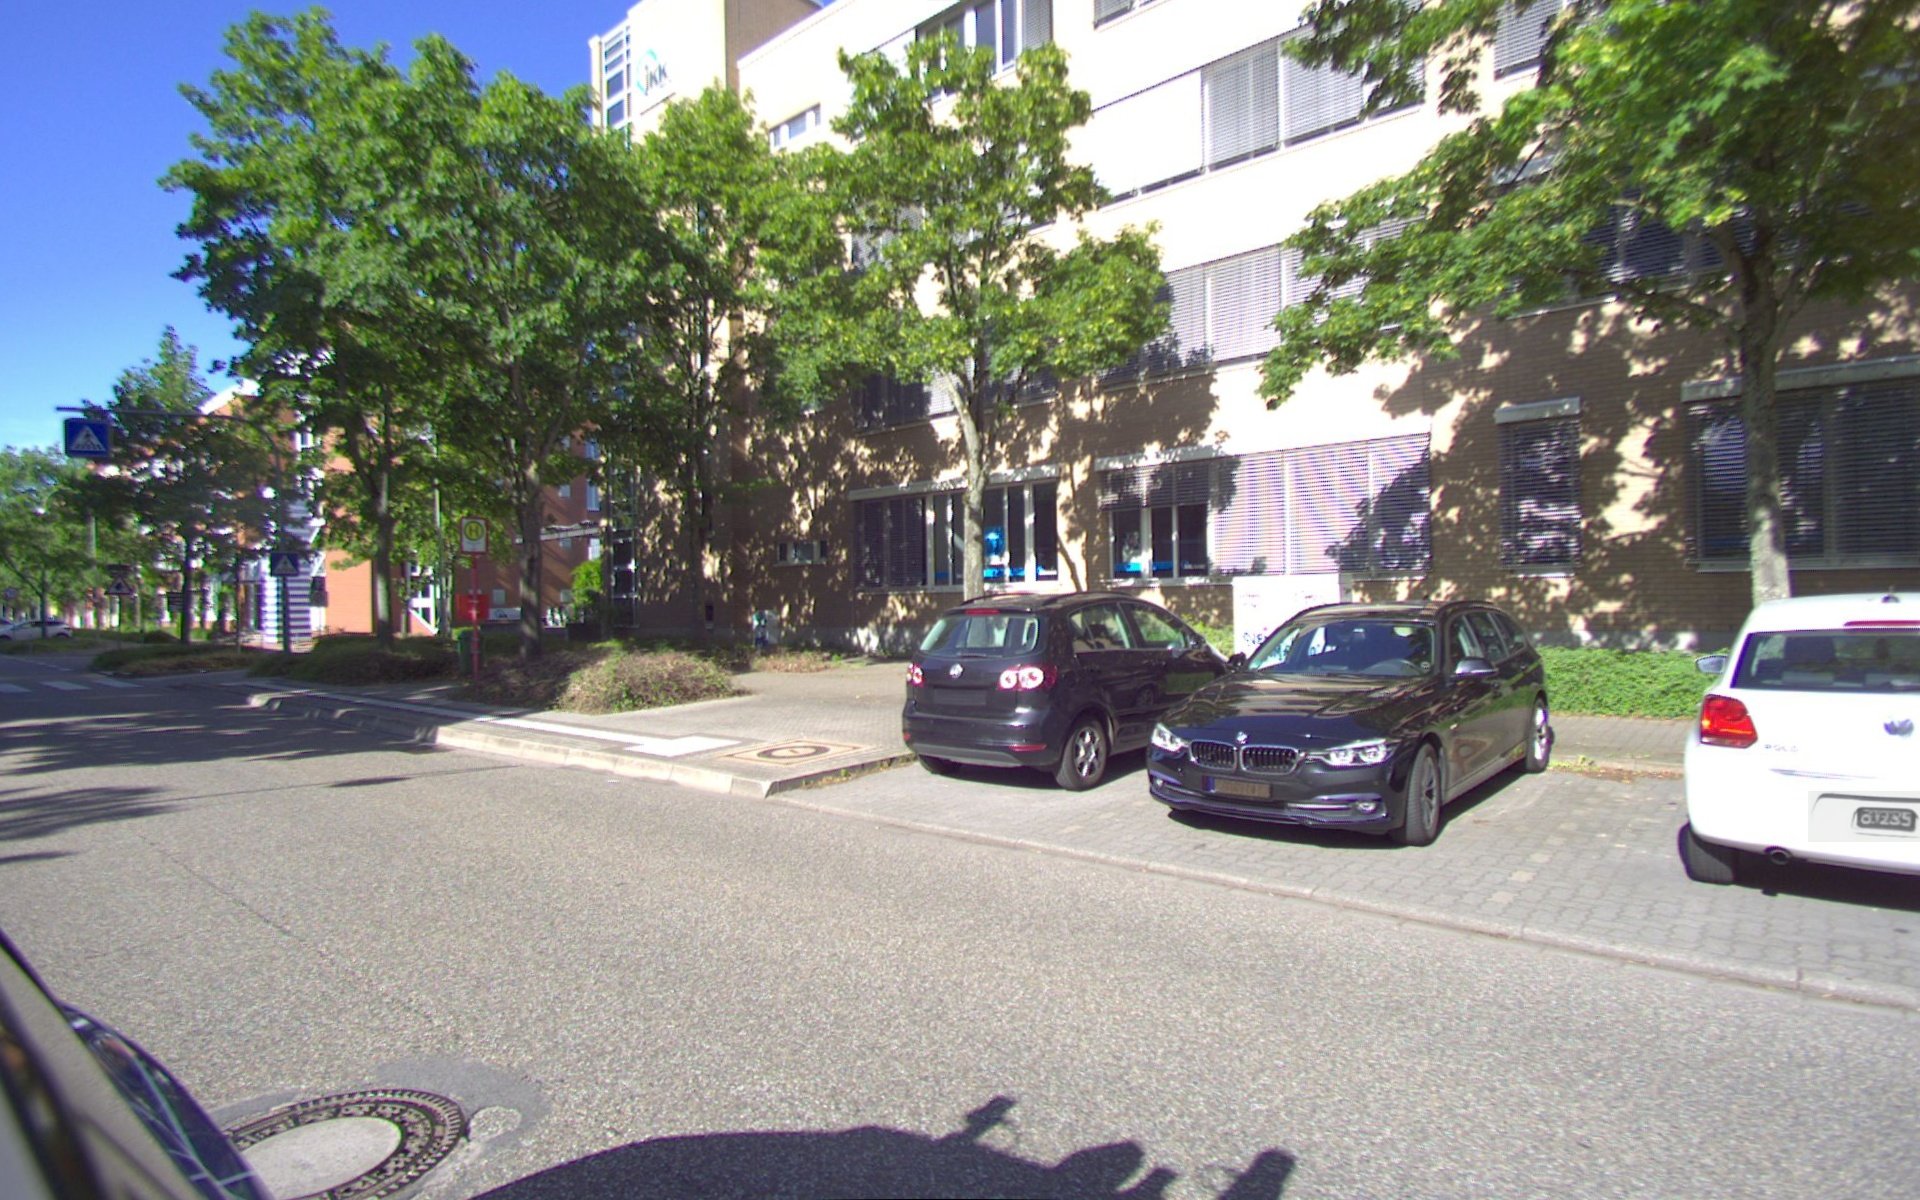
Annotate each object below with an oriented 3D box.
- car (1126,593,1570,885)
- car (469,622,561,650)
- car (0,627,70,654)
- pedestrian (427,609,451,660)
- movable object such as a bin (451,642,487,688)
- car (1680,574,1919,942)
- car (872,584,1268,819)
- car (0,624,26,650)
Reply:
[{"bbox_3d":[3.108,0.752,7.549,1.800,1.413,4.109,-2,1,40],"label":"car"},{"bbox_3d":[-25.152,2.014,57.265,1.847,1.463,4.379,-2,-1,42],"label":"car"},{"bbox_3d":[-54.679,2.377,59.044,1.617,1.430,3.953,-2,0,40],"label":"car"},{"bbox_3d":[-20.264,1.336,39.356,0.672,1.932,0.615,-2,-2,43],"label":"pedestrian"},{"bbox_3d":[-8.357,1.105,17.219,0.436,0.736,0.409,-2,1,-41],"label":"movable object such as a bin"},{"bbox_3d":[5.287,0.631,5.618,1.753,1.463,3.716,-2,1,41],"label":"car"},{"bbox_3d":[1.219,0.743,9.481,1.727,1.582,3.947,-2,1,40],"label":"car"},{"bbox_3d":[-71.669,2.744,73.717,2.000,1.901,5.247,-2,-2,42],"label":"car"}]
